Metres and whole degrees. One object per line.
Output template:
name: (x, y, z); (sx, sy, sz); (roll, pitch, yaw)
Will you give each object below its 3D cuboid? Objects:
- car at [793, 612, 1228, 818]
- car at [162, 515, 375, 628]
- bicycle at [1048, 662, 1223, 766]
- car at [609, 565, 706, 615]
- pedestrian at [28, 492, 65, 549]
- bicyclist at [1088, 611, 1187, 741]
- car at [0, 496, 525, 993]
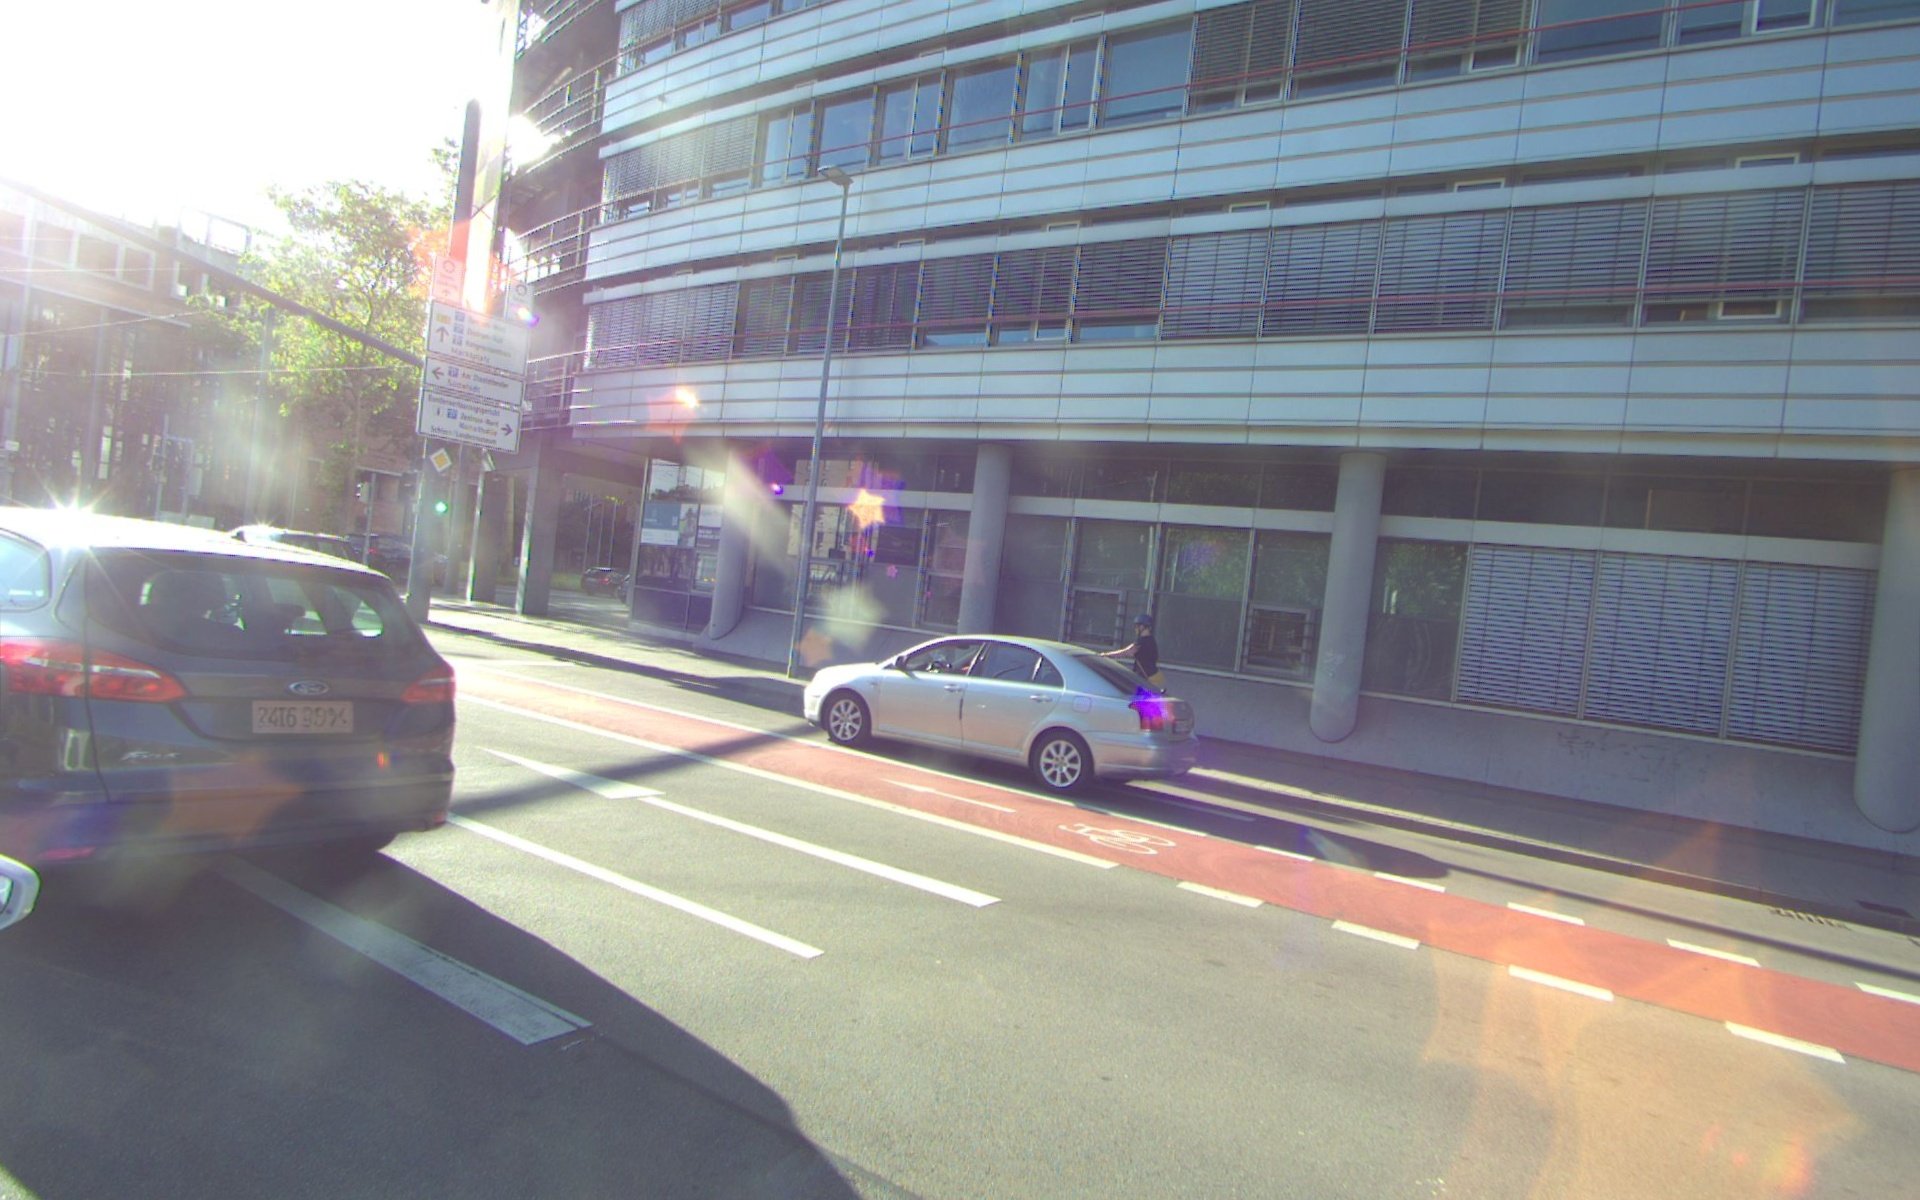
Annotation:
car: (0.483, 1.141, 11.185); (4.413, 1.448, 1.753); (7, 0, 30)
car: (-13.213, -0.570, 19.137); (4.390, 1.649, 1.689); (6, 0, 33)
bicycle: (2.336, 1.494, 13.501); (2.166, 1.045, 0.500); (7, 0, 24)
car: (-13.458, -0.417, 45.011); (1.832, 1.670, 4.000); (7, -2, 24)
pedestrian: (-30.547, -2.650, 33.657); (0.701, 1.781, 0.556); (6, 1, -33)
bicyclist: (2.386, 1.004, 13.490); (1.024, 1.586, 0.626); (7, 1, 22)
car: (-4.188, 0.303, 4.752); (4.082, 1.451, 1.688); (7, 0, 29)
